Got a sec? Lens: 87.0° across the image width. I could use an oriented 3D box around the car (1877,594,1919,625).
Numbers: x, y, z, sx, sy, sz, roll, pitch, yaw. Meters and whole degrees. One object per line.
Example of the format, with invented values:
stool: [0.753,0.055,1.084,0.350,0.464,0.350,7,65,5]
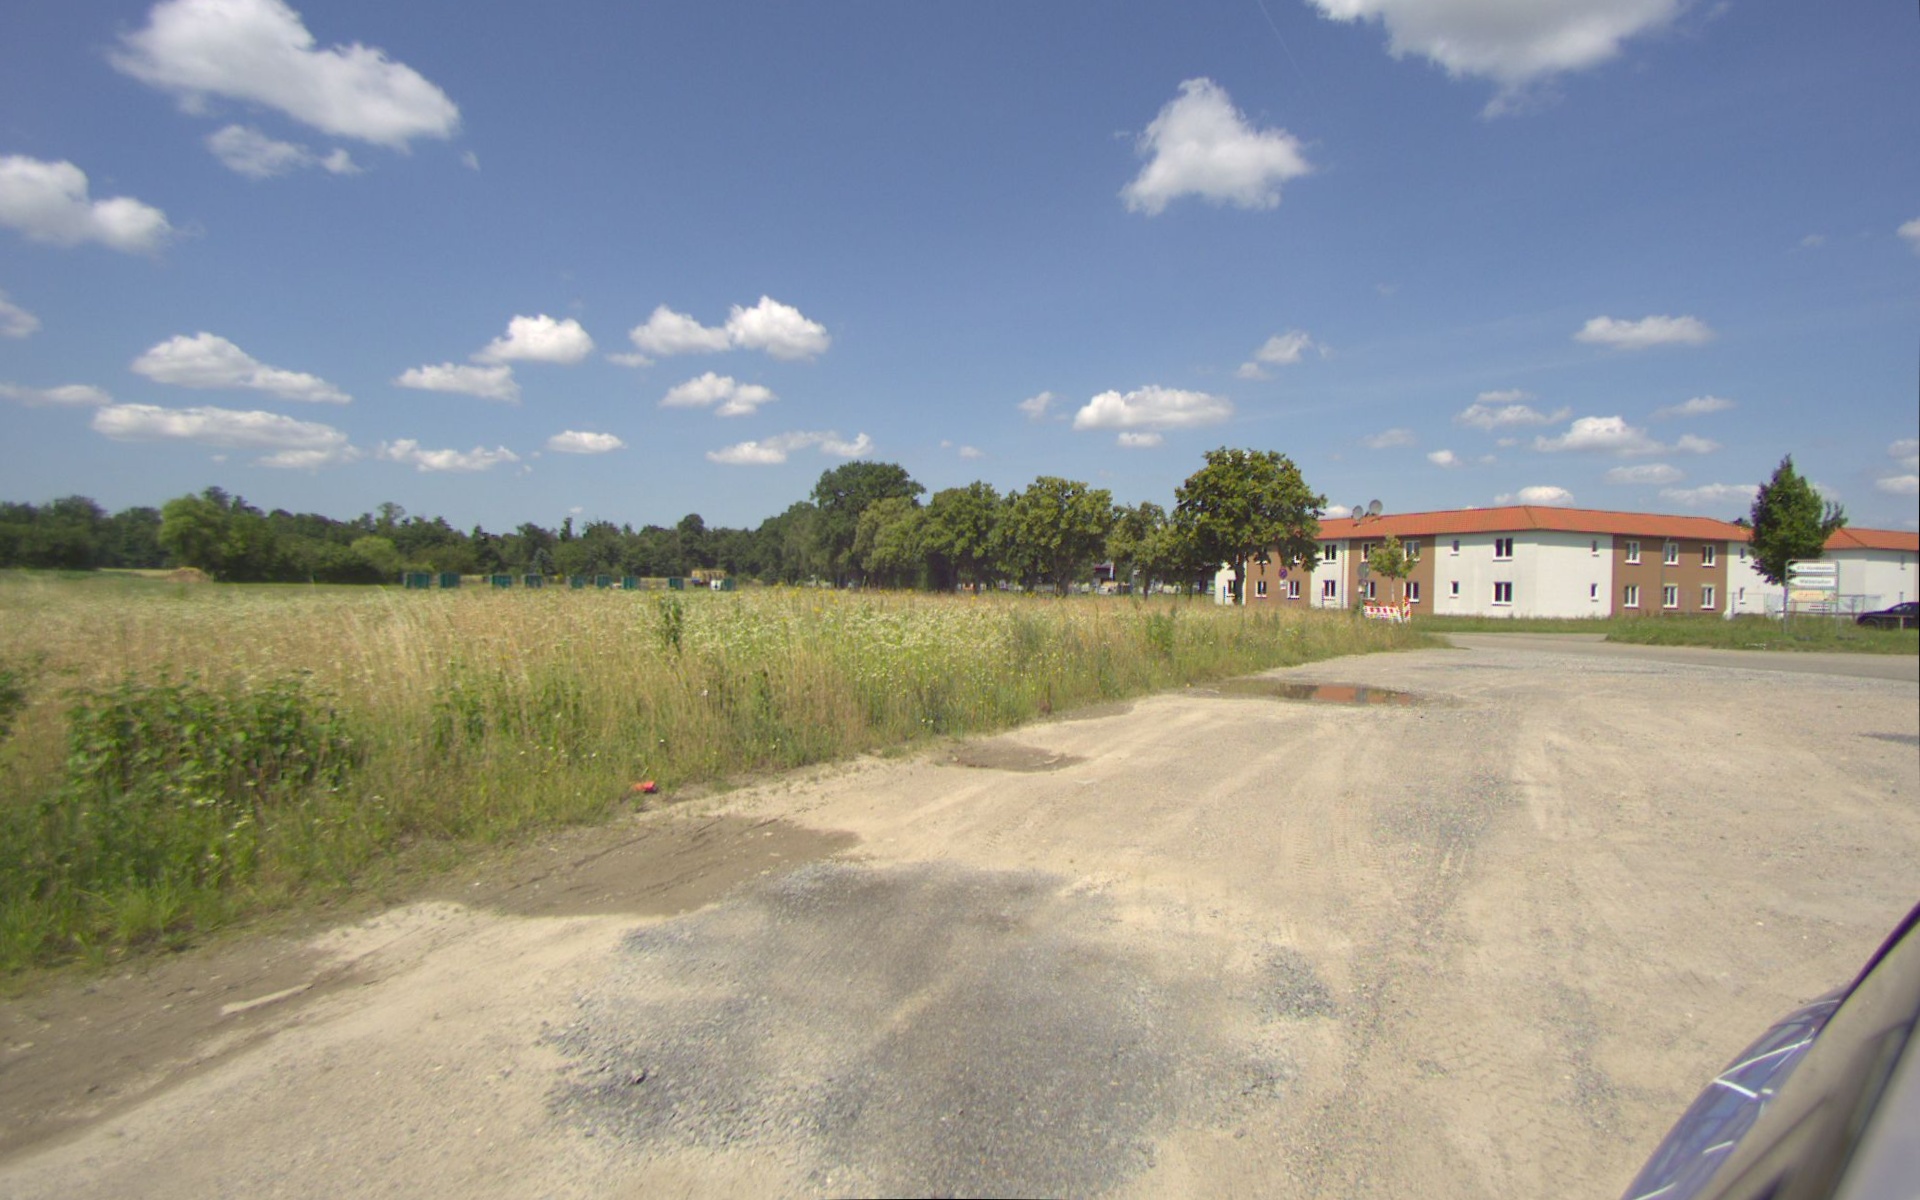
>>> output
car: [52.451,0.548,54.433,1.958,1.635,4.157,1,1,-23]
